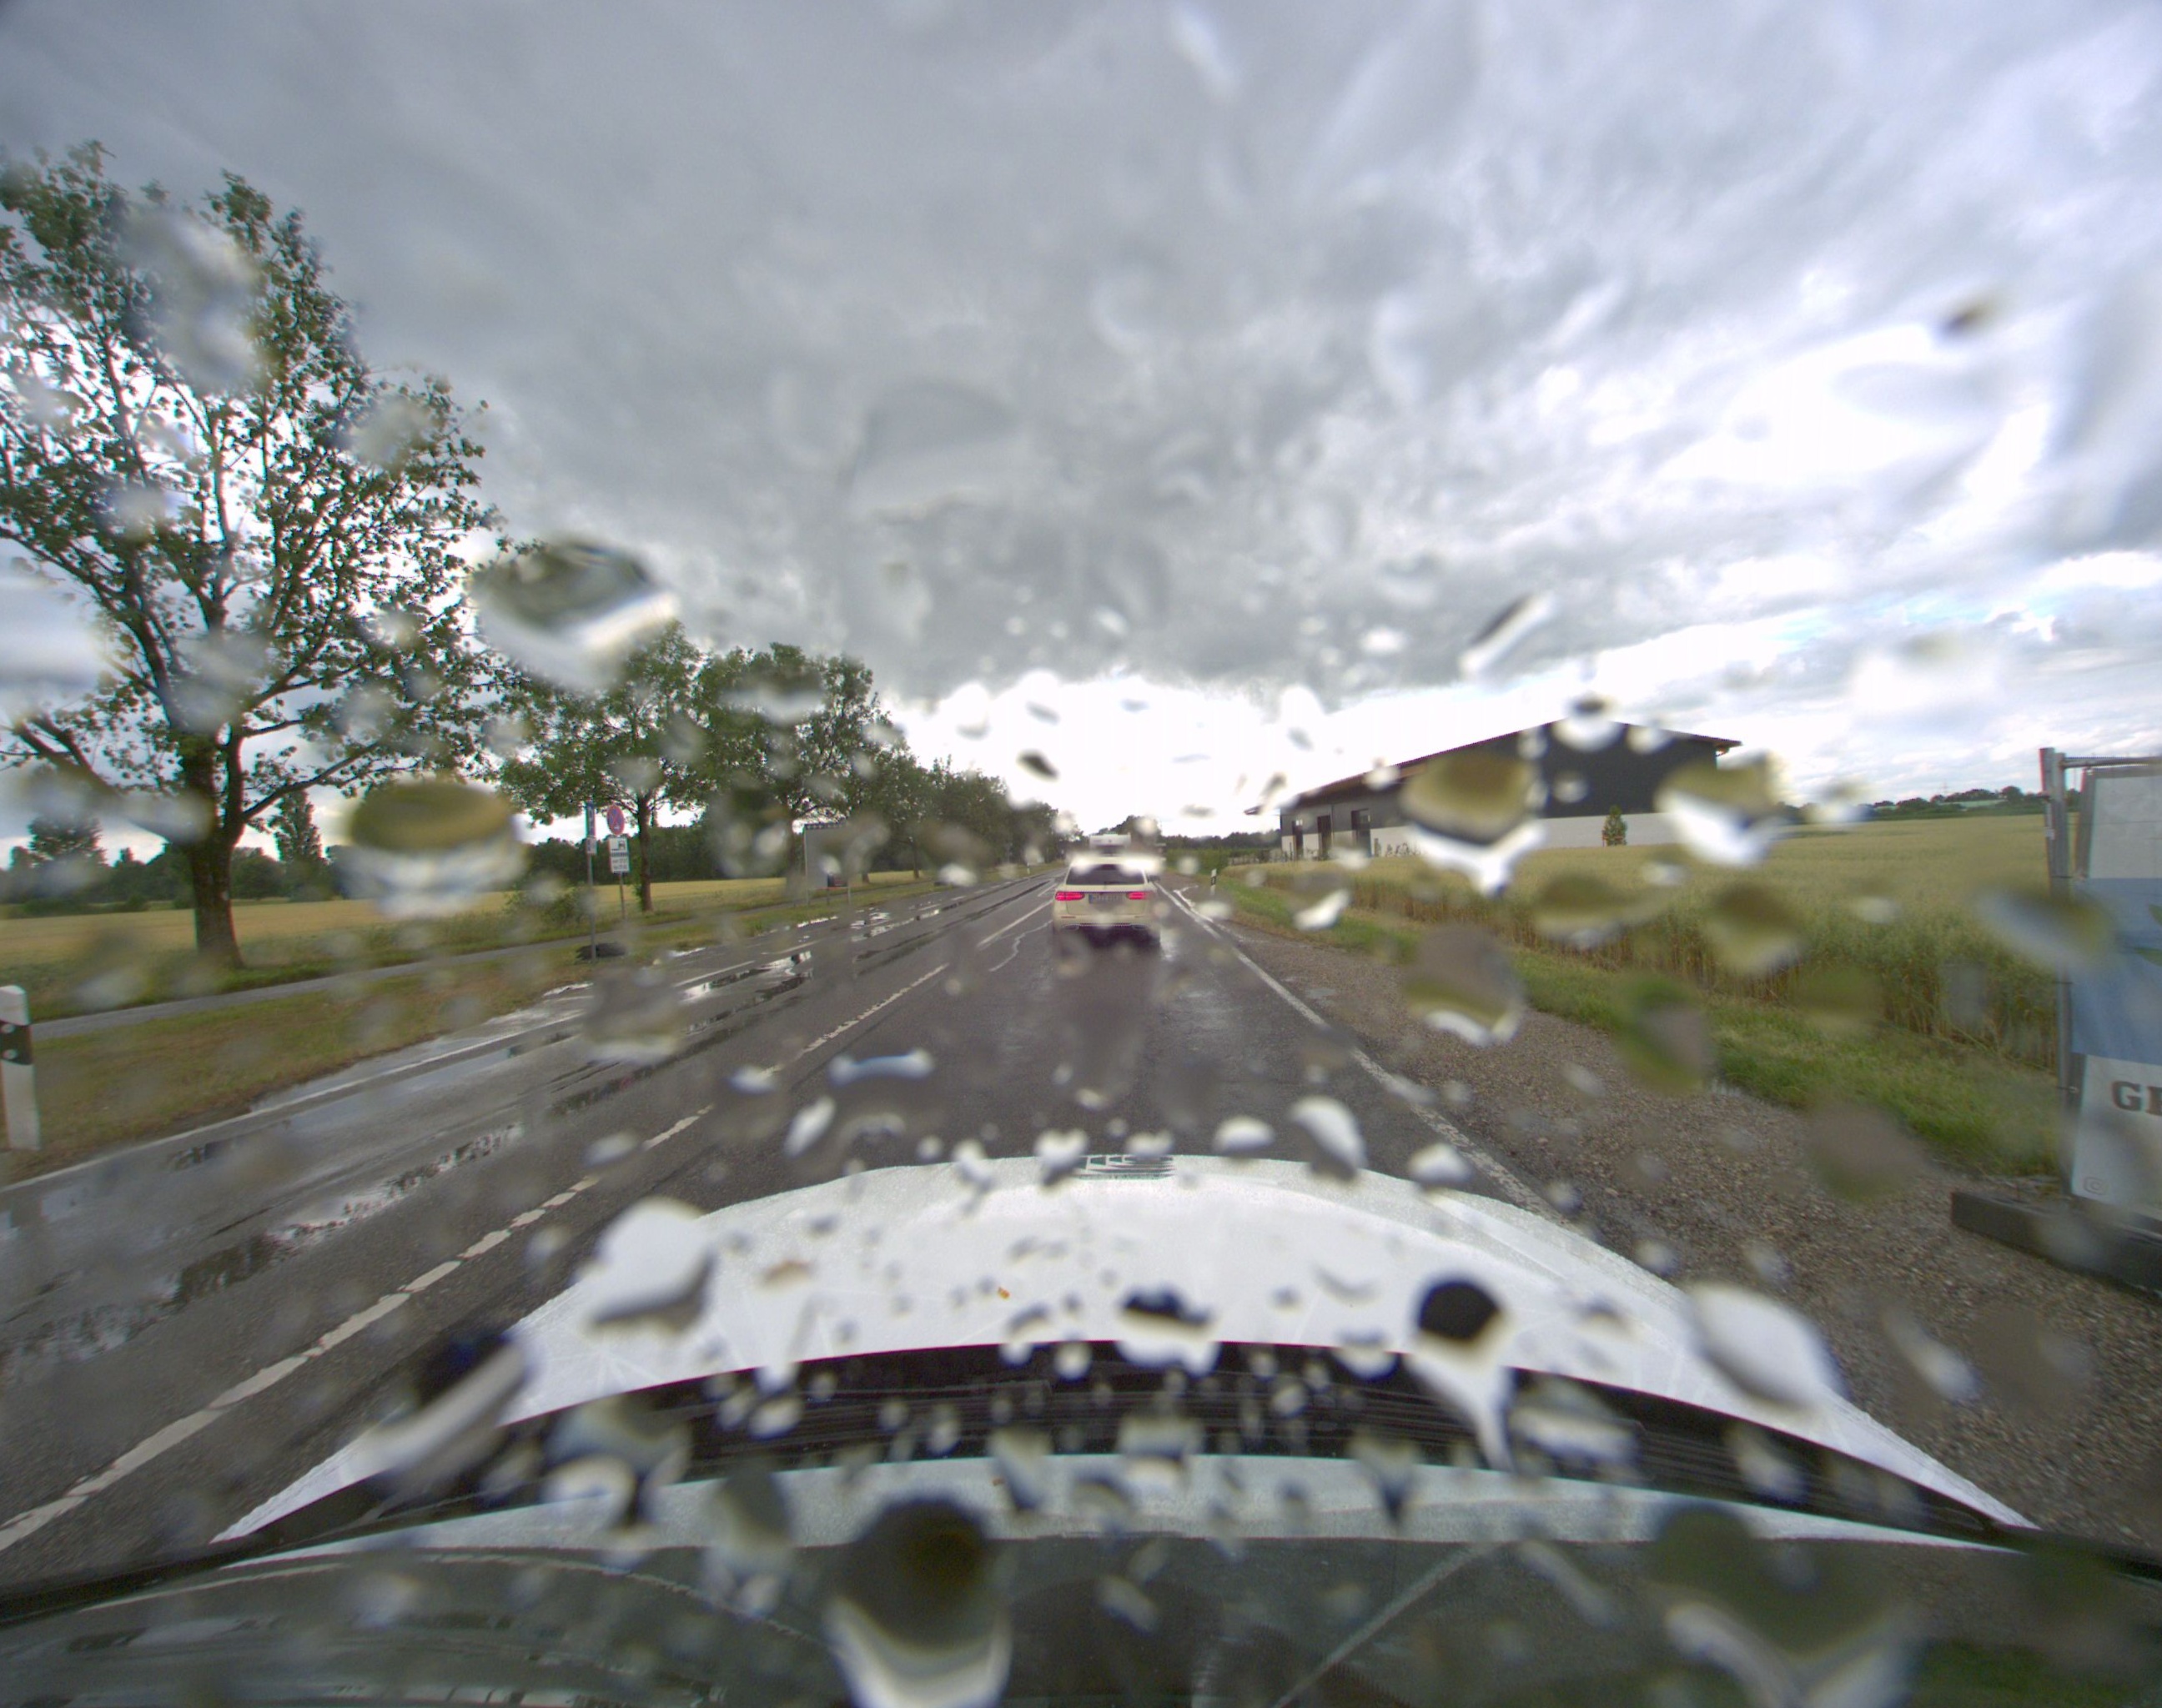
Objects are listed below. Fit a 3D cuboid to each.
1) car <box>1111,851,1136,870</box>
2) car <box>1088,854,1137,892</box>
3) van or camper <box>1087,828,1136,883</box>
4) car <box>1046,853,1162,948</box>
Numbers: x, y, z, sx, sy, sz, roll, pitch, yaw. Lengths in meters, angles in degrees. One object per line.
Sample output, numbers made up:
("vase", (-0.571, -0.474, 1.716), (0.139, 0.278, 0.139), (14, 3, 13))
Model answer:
("car", (3.843, 0.592, 73.623), (1.884, 1.590, 3.936), (-2, 0, 7))
("car", (1.307, 0.742, 33.788), (1.887, 1.429, 3.929), (-2, 0, 2))
("van or camper", (1.826, 0.094, 47.031), (2.486, 2.831, 5.939), (-3, 0, 3))
("car", (0.466, 0.736, 14.896), (1.790, 1.464, 4.034), (-1, 0, 3))
